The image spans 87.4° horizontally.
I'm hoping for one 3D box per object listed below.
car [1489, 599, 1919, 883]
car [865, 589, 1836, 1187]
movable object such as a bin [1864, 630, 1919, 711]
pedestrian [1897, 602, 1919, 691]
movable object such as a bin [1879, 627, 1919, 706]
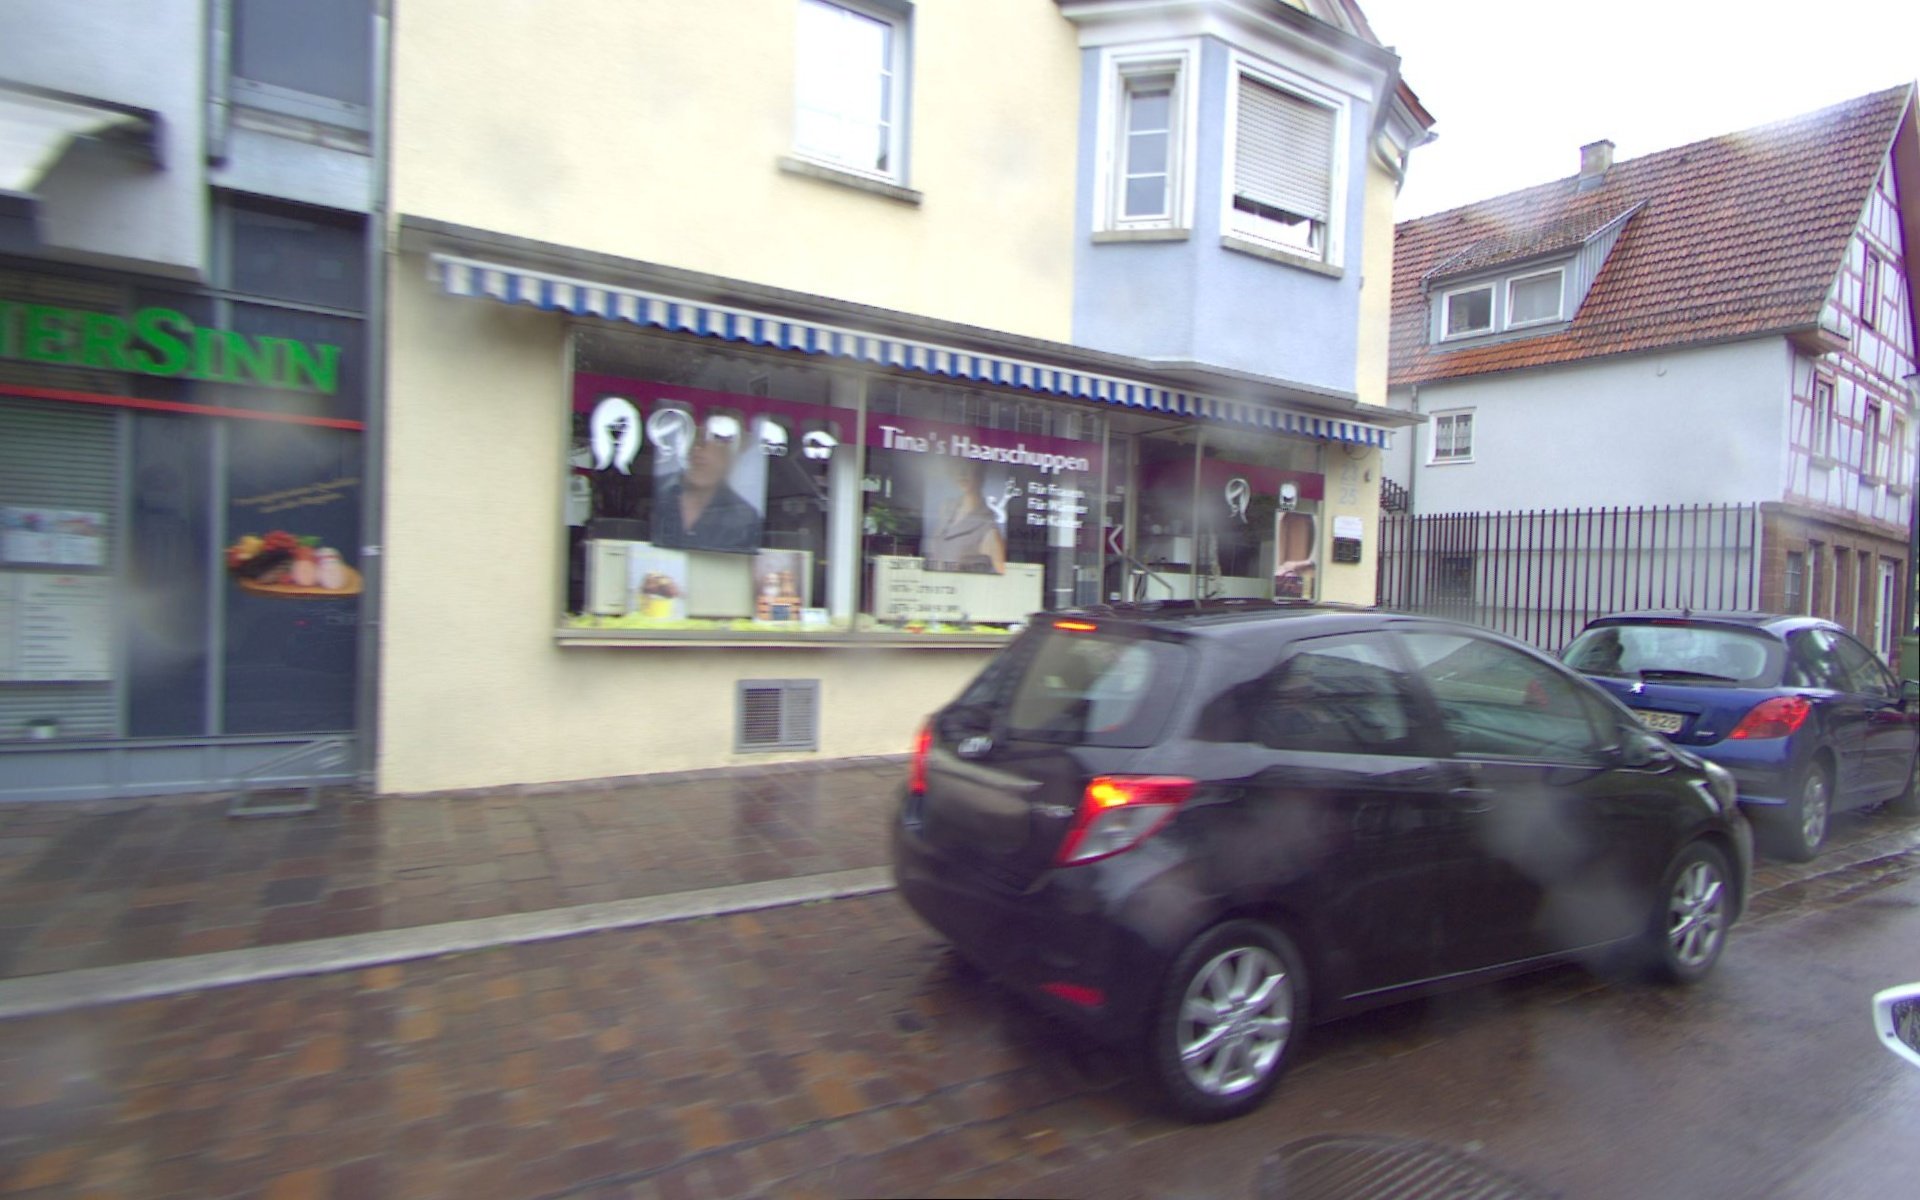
[{"bbox_3d":[5.765,0.779,7.408,3.906,1.494,1.744,0,3,-37],"label":"car"},{"bbox_3d":[1.704,0.730,4.194,3.836,1.463,1.684,0,3,-29],"label":"car"},{"bbox_3d":[13.837,1.028,14.727,0.591,1.125,0.720,2,2,-37],"label":"movable object such as a bin"},{"bbox_3d":[19.070,0.933,19.940,0.573,1.734,0.514,2,2,-36],"label":"pedestrian"},{"bbox_3d":[14.349,1.001,15.080,0.610,1.125,0.655,2,2,-37],"label":"movable object such as a bin"}]
